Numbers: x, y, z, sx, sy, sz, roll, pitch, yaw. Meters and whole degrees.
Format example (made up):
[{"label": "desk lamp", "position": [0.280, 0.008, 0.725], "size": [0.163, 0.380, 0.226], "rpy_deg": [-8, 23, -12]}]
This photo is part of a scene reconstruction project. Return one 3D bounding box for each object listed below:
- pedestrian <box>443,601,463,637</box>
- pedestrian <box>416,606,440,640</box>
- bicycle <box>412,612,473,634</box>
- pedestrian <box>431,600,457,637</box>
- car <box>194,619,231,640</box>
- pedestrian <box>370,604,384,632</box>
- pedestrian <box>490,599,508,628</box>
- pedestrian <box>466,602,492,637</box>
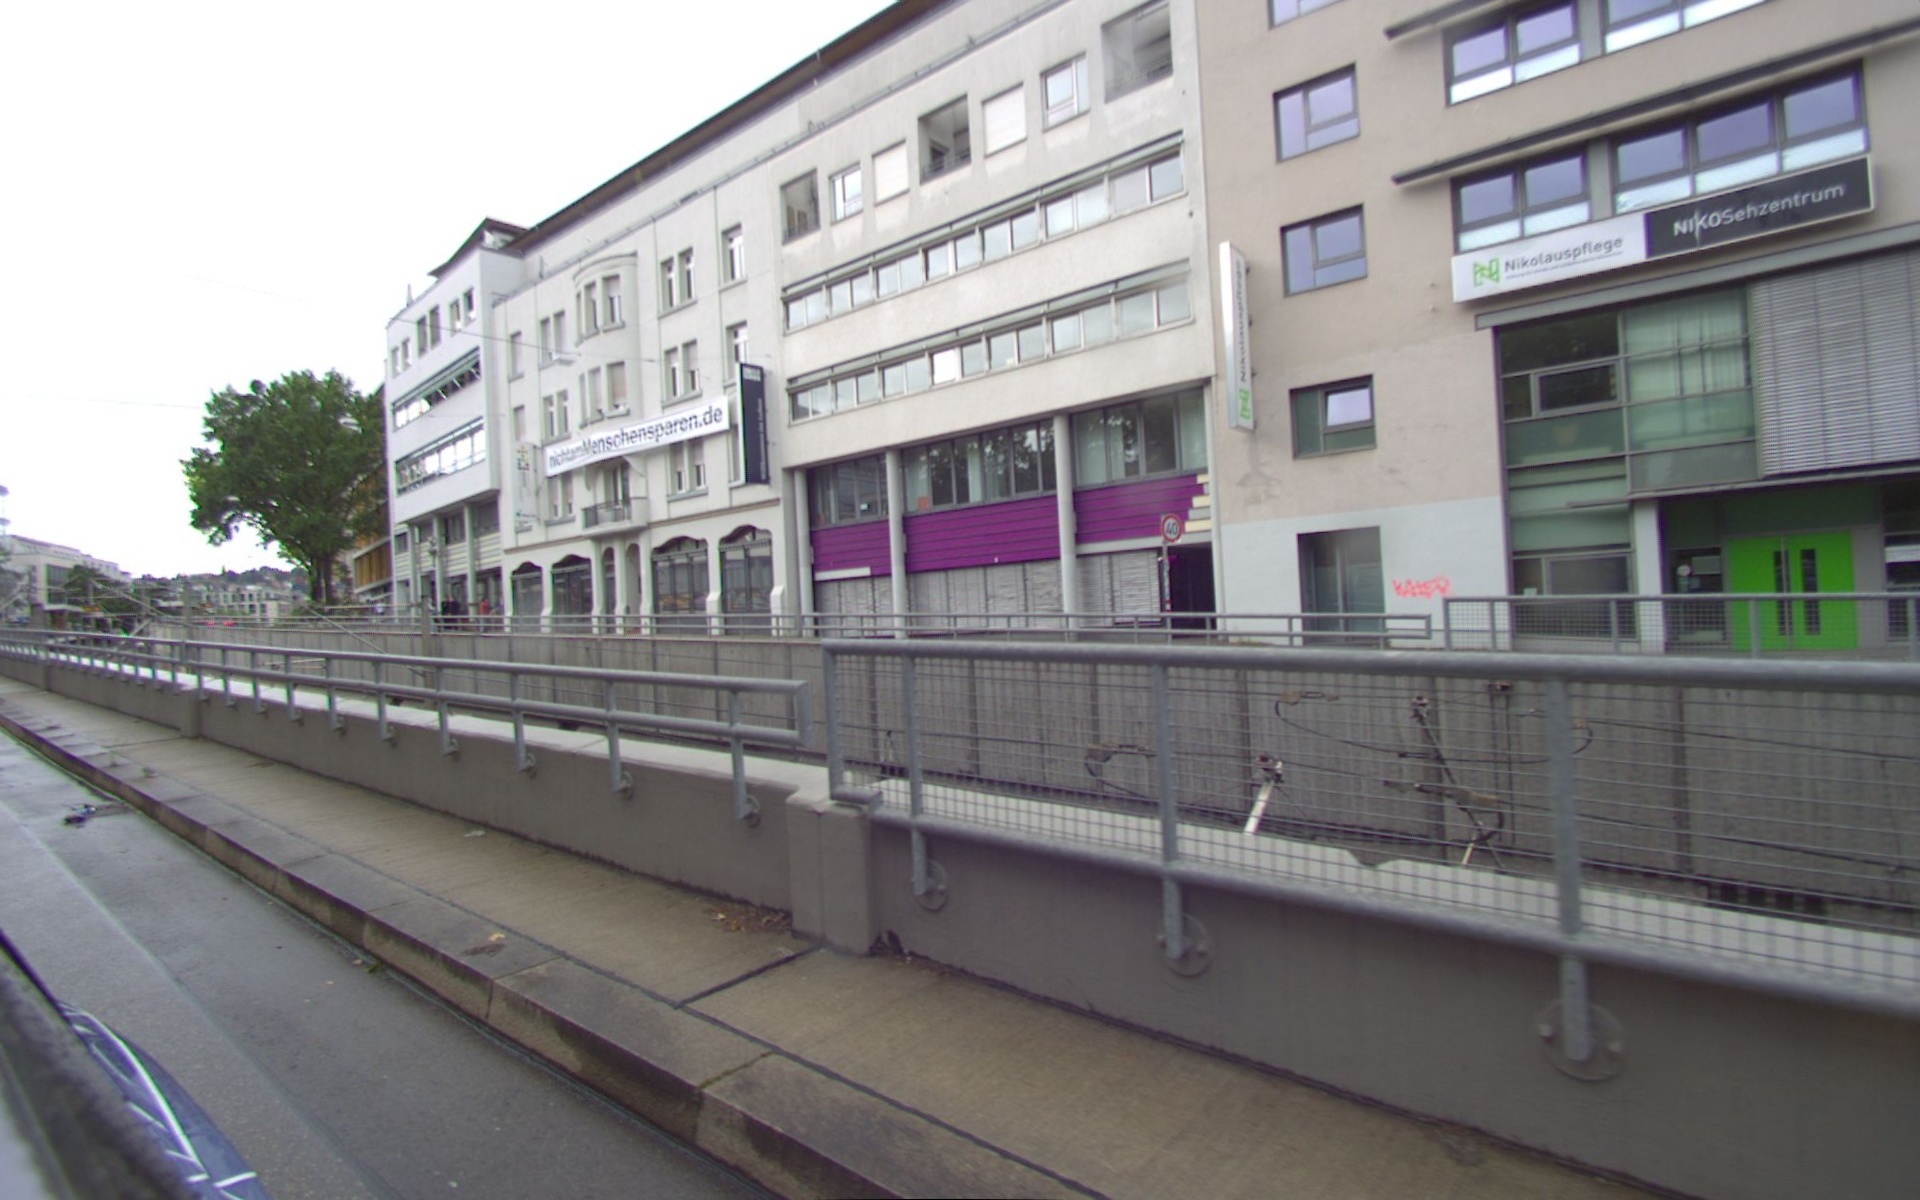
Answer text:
[{"label": "pedestrian", "position": [-24.981, 0.943, 49.858], "size": [0.601, 1.735, 0.673], "rpy_deg": [-2, 0, 1]}, {"label": "pedestrian", "position": [-25.974, 1.114, 49.450], "size": [0.784, 1.655, 0.674], "rpy_deg": [-2, 0, -2]}, {"label": "bicycle", "position": [-28.075, 1.228, 54.846], "size": [1.673, 1.051, 4.525], "rpy_deg": [-3, 2, -44]}, {"label": "pedestrian", "position": [-25.806, 0.921, 50.631], "size": [0.937, 1.798, 0.667], "rpy_deg": [-2, 0, 27]}, {"label": "car", "position": [-65.808, 2.599, 89.068], "size": [4.577, 1.726, 1.816], "rpy_deg": [-2, -1, 43]}, {"label": "pedestrian", "position": [-38.789, 1.206, 67.281], "size": [0.657, 1.863, 0.831], "rpy_deg": [1, -3, -40]}, {"label": "pedestrian", "position": [-23.331, 0.669, 51.255], "size": [0.600, 1.430, 0.674], "rpy_deg": [-2, -1, -44]}, {"label": "pedestrian", "position": [-22.719, 0.919, 47.803], "size": [0.937, 1.628, 0.667], "rpy_deg": [-2, 0, 27]}]
